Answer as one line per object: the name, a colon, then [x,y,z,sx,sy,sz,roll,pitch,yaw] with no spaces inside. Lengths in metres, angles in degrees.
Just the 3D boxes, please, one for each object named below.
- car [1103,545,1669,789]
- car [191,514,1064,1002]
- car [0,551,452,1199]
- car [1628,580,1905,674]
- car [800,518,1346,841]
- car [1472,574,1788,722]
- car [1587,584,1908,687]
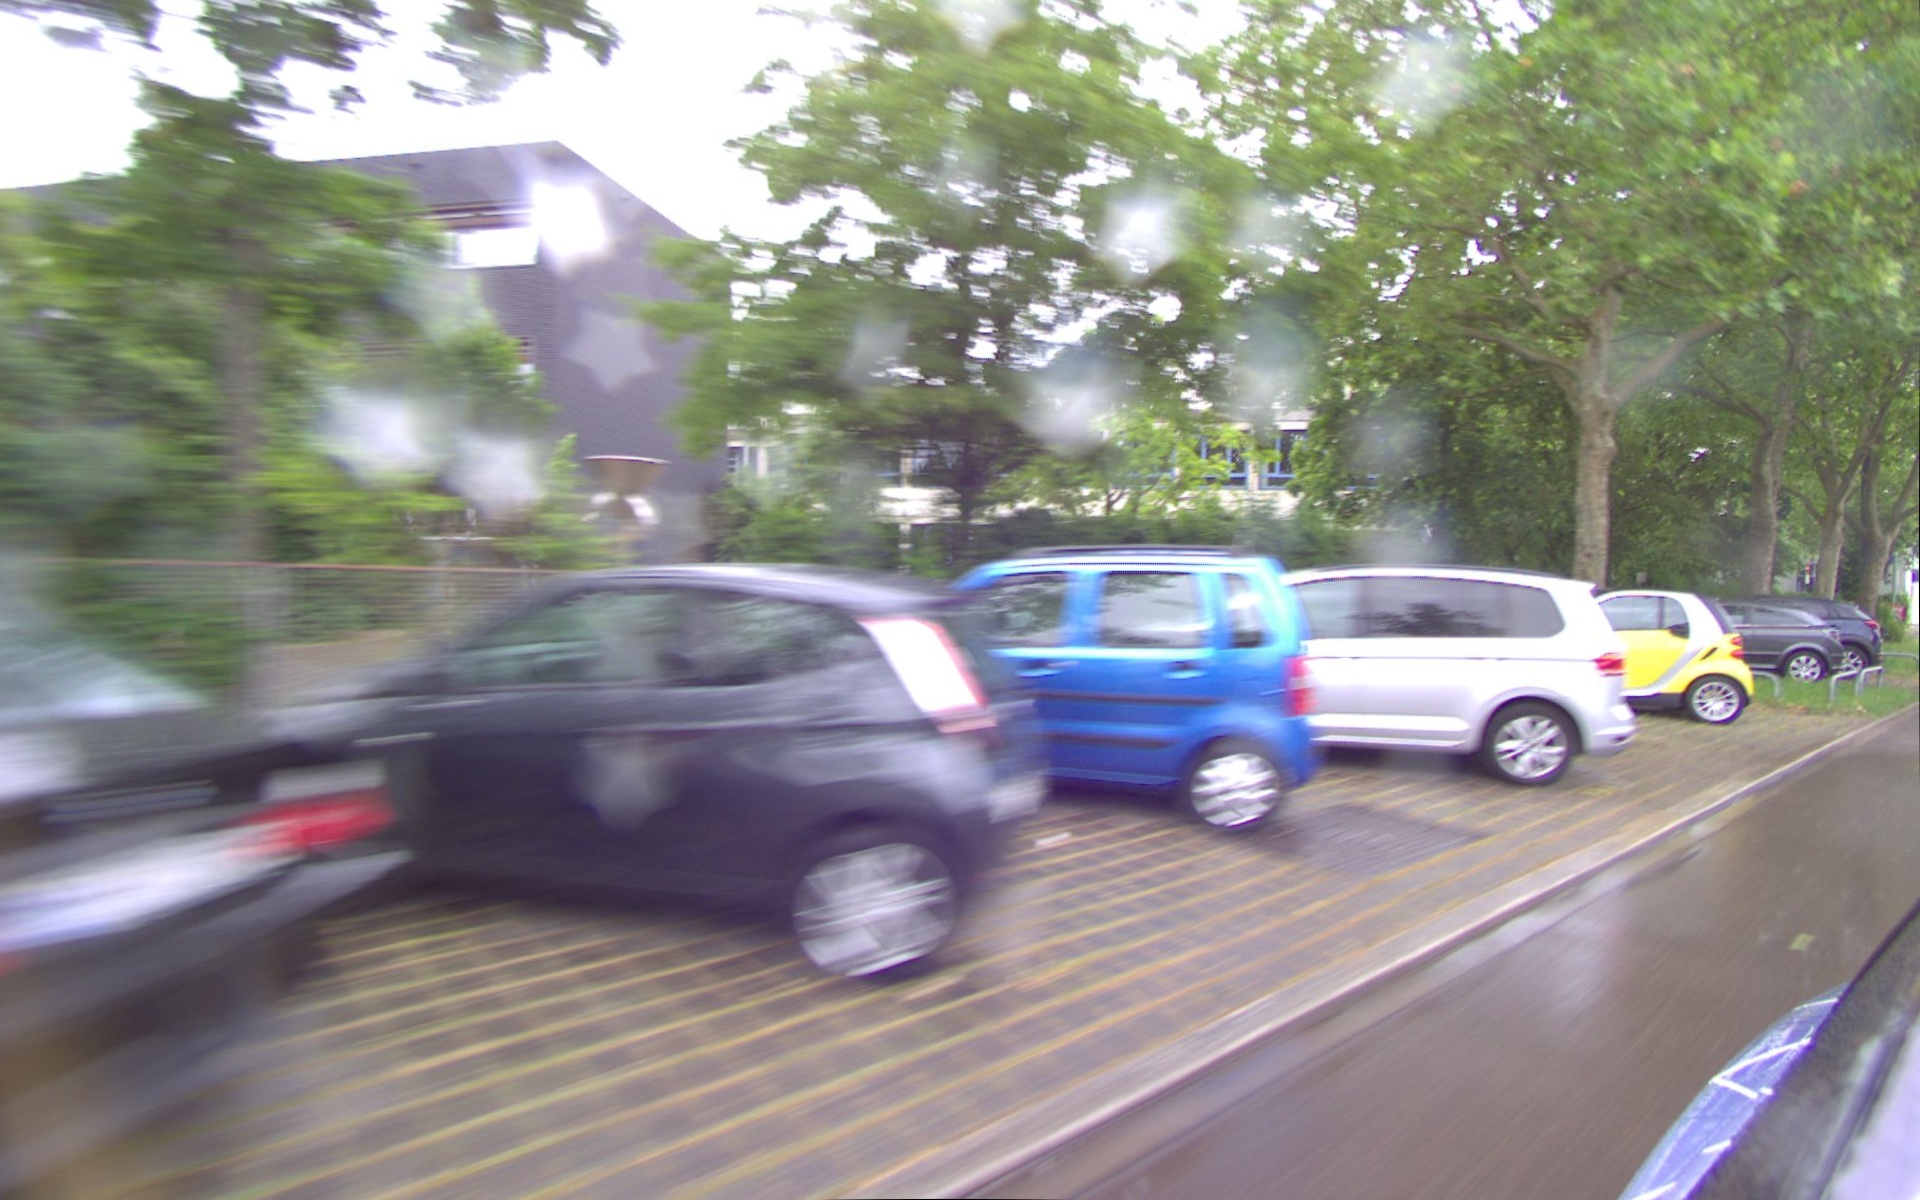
car: [3.281,0.432,8.521,3.985,1.661,1.649,2,2,12]
car: [-1.320,0.466,4.676,3.353,1.536,1.844,3,3,13]
car: [-3.726,0.556,2.504,4.237,1.401,1.736,1,1,10]
car: [15.795,0.467,20.070,3.754,1.551,1.873,3,2,17]
car: [0.750,0.377,6.828,3.230,1.691,1.585,3,3,16]
car: [8.056,0.498,12.482,2.870,1.484,1.593,4,3,21]
car: [13.700,0.561,17.876,4.003,1.435,1.736,3,3,14]
